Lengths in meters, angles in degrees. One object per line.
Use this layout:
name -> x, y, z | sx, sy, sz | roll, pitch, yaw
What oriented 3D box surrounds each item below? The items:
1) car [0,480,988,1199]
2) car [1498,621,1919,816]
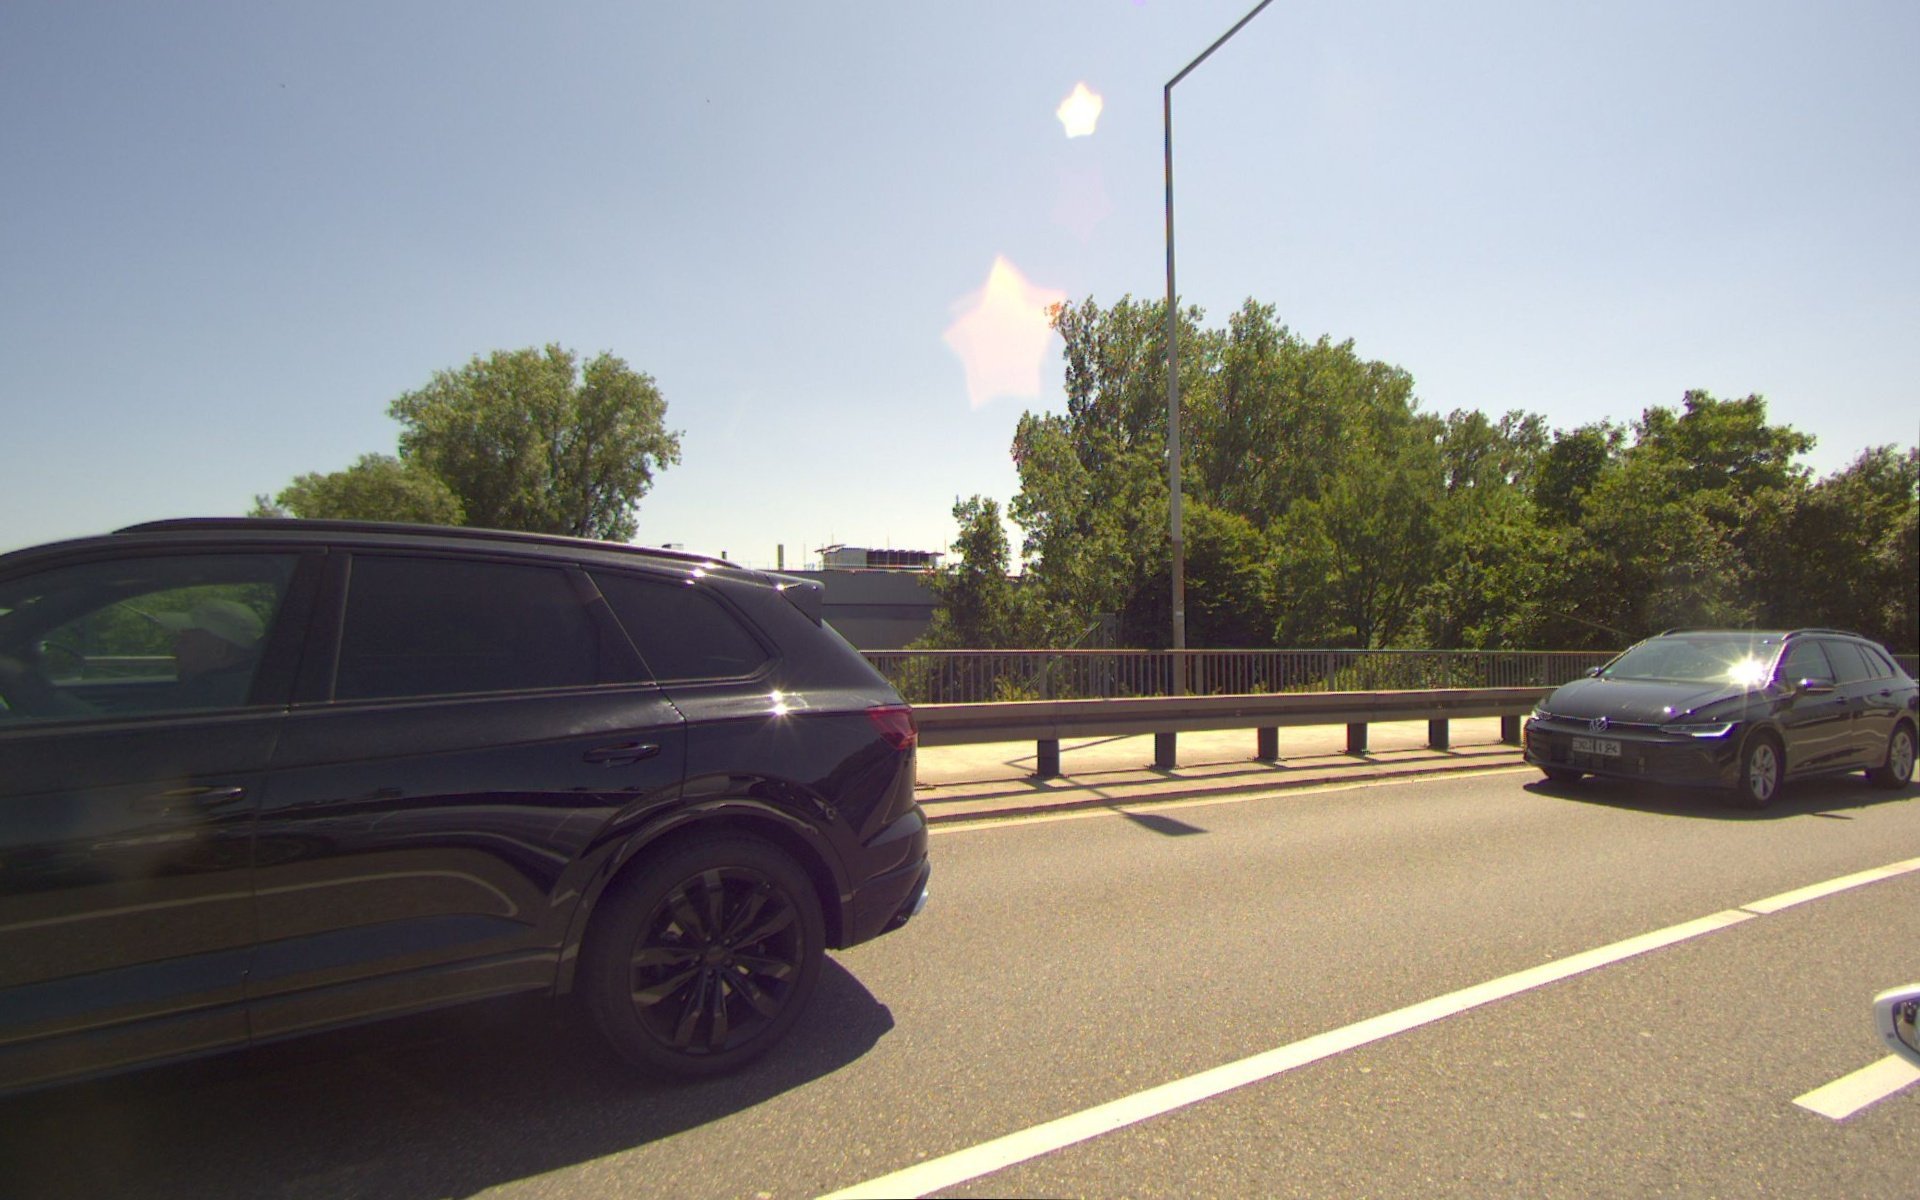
car -> -2.353, 0.578, 3.147 | 4.564, 1.696, 1.954 | 2, 0, -33
car -> 7.314, 0.975, 9.537 | 4.402, 1.488, 1.704 | 1, -1, -27
